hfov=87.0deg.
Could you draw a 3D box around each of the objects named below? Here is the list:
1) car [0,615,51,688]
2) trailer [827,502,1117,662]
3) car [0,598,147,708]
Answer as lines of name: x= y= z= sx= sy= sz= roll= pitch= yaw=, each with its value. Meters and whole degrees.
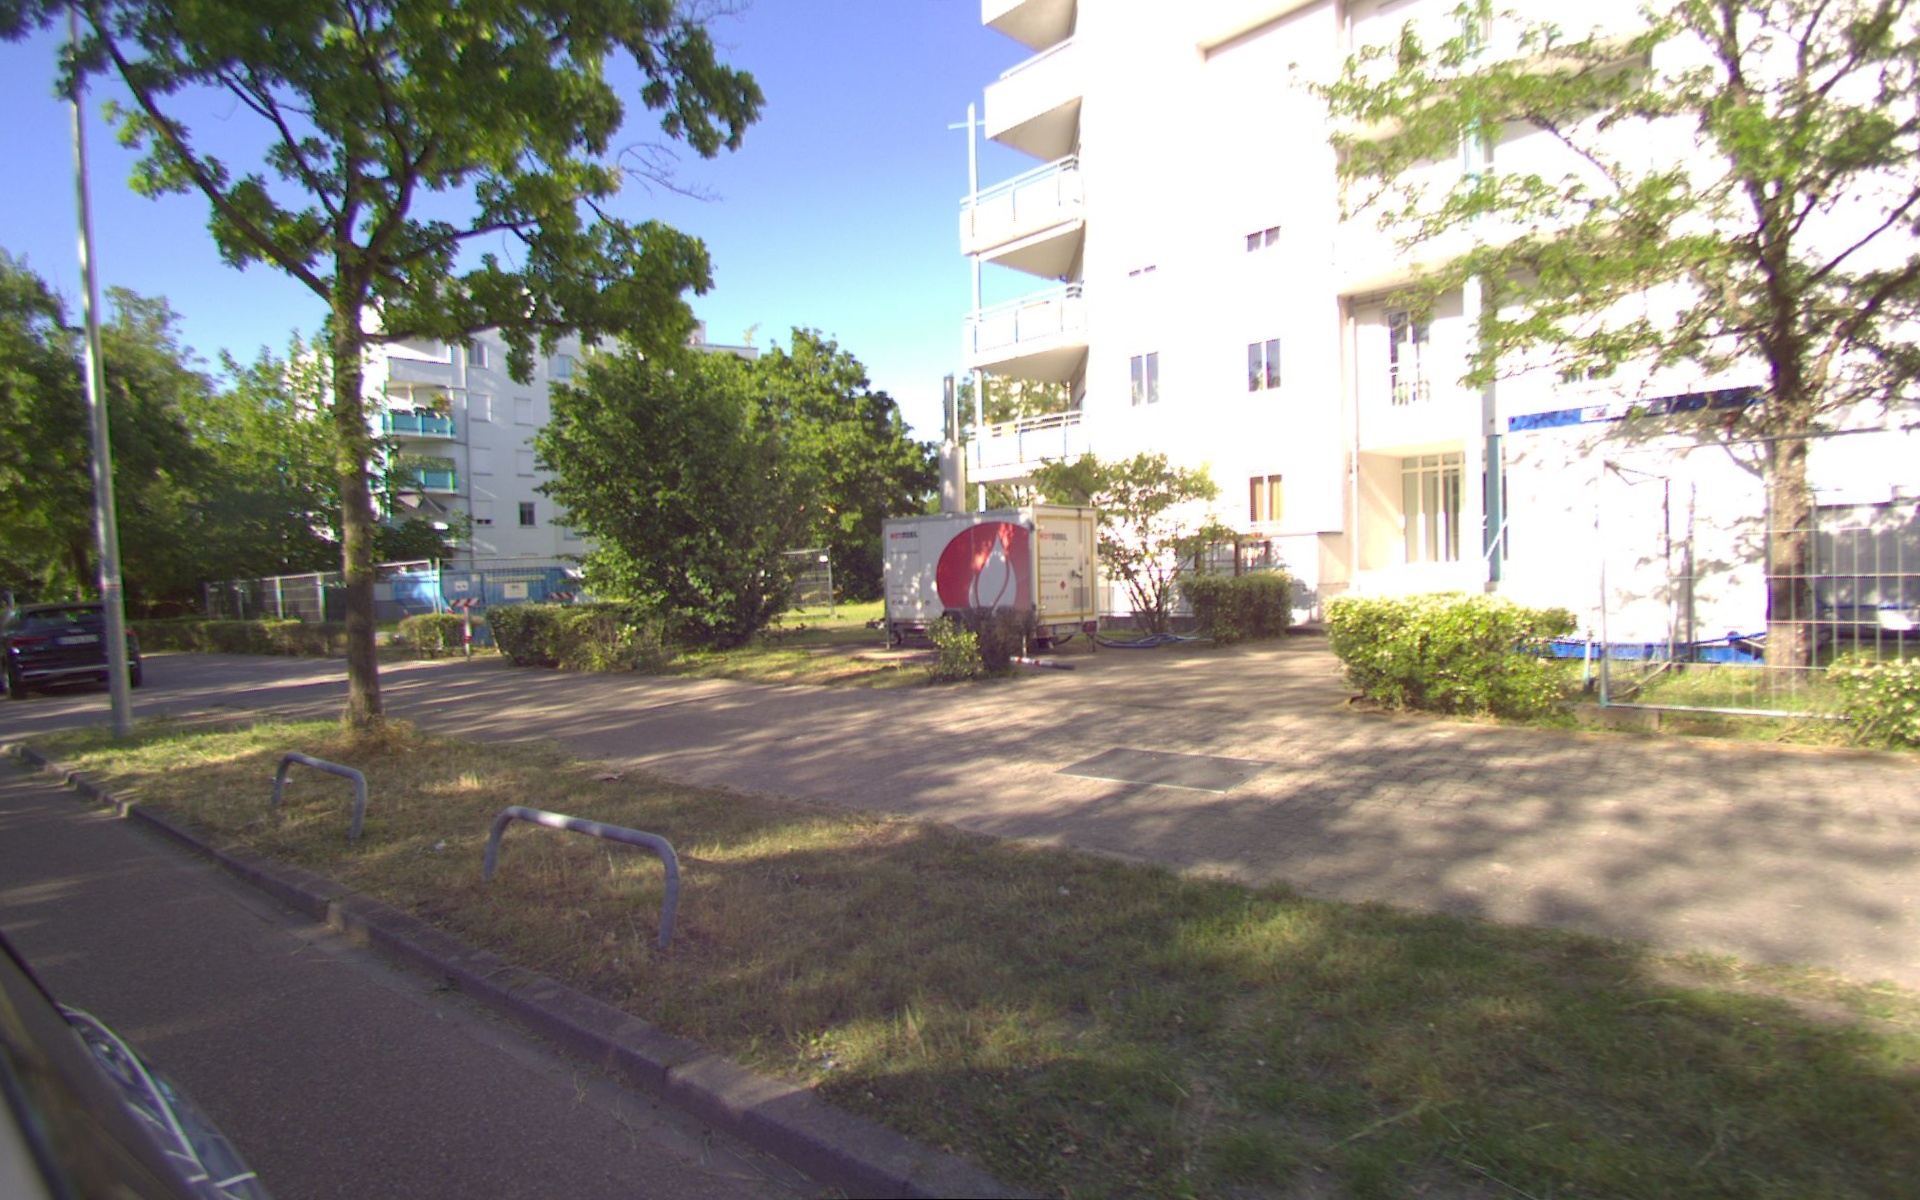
car: x=-21.529 y=1.151 z=22.069 sx=4.130 sy=1.443 sz=1.701 roll=-2 pitch=3 yaw=37
trailer: x=0.073 y=-0.267 z=15.748 sx=4.347 sy=2.135 sz=1.843 roll=-1 pitch=3 yaw=44
car: x=-16.303 y=0.887 z=18.222 sx=4.218 sy=1.633 sz=1.758 roll=-2 pitch=3 yaw=41
